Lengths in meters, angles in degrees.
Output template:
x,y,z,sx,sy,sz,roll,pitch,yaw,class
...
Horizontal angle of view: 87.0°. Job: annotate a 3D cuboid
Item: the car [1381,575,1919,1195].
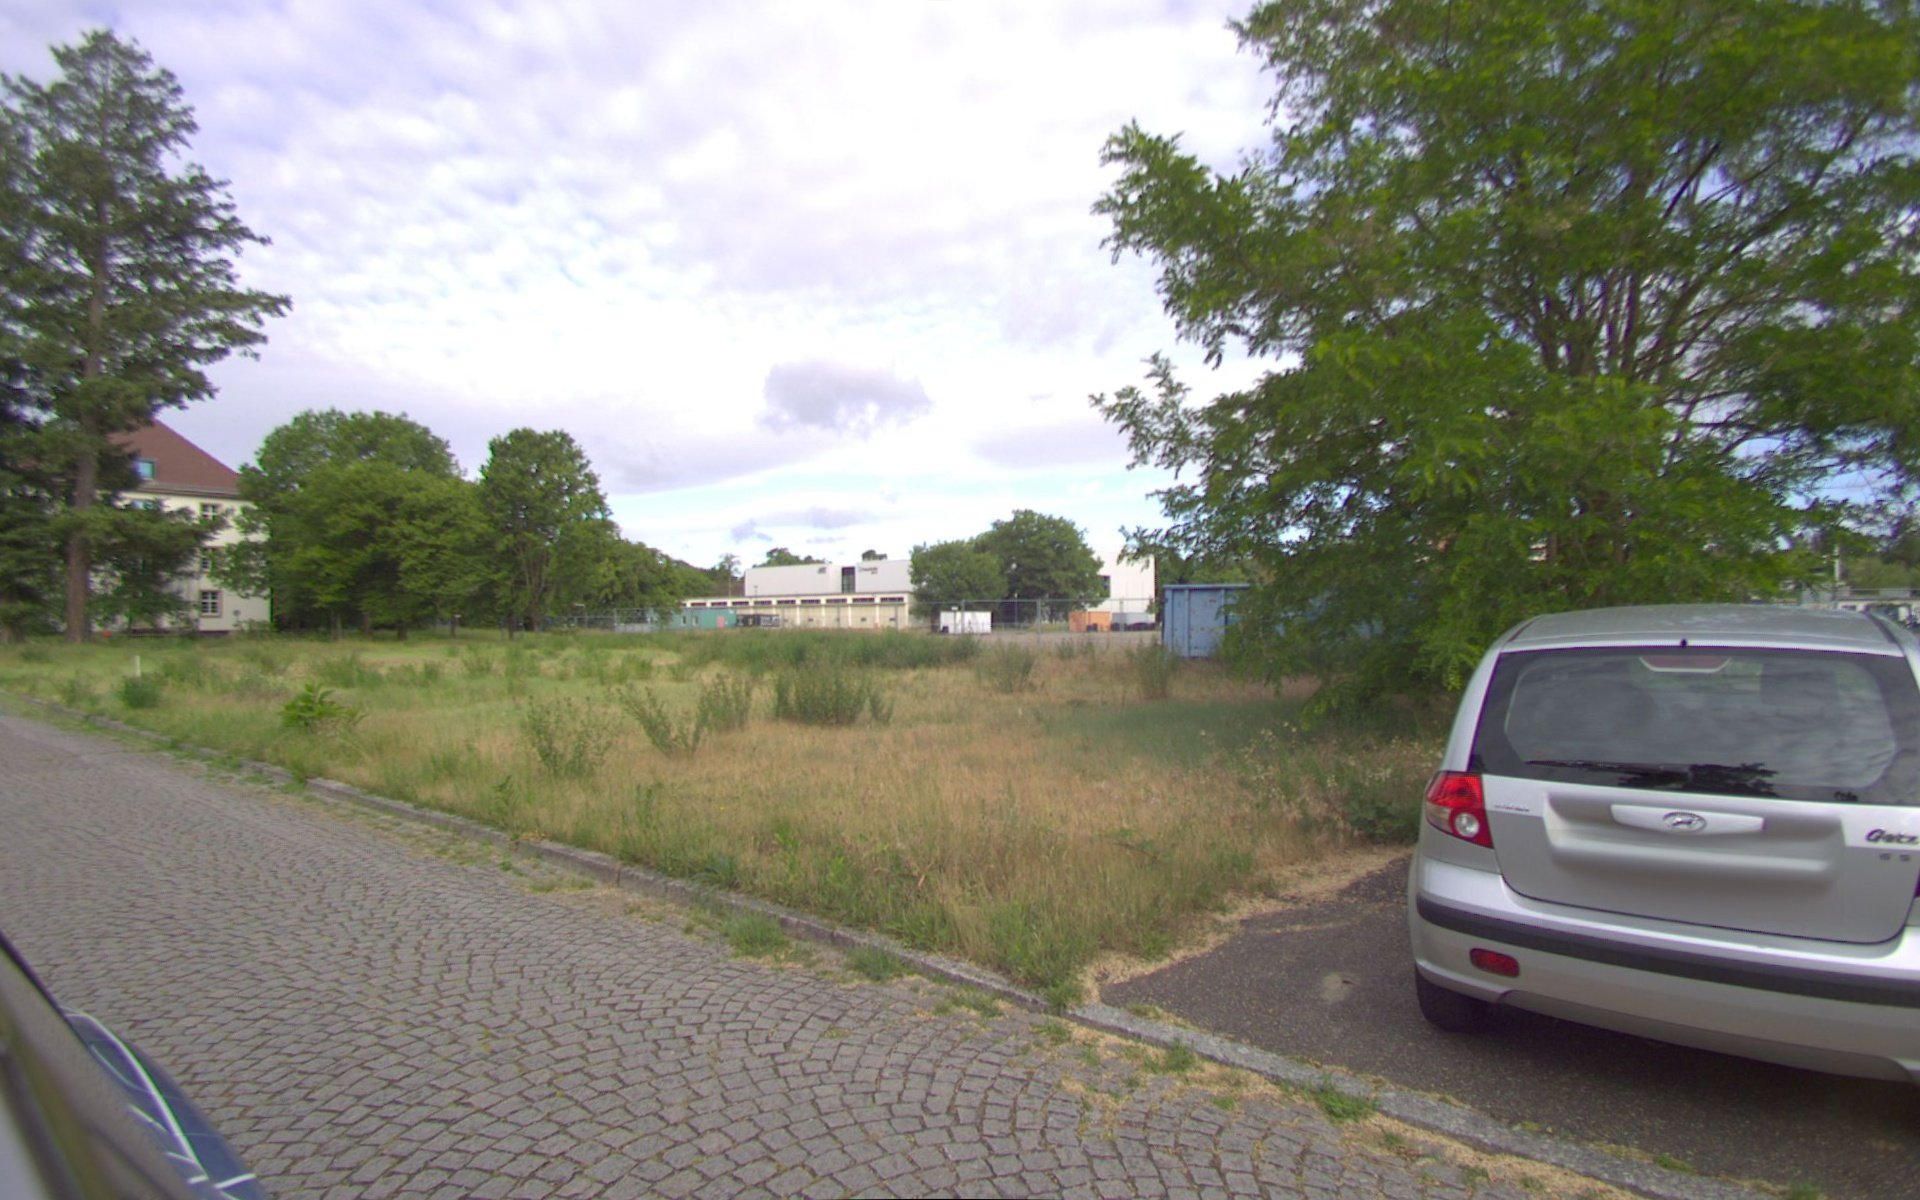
x,y,z,sx,sy,sz,roll,pitch,yaw,class
3.144,0.683,4.160,1.805,1.463,3.646,-1,1,36,car
